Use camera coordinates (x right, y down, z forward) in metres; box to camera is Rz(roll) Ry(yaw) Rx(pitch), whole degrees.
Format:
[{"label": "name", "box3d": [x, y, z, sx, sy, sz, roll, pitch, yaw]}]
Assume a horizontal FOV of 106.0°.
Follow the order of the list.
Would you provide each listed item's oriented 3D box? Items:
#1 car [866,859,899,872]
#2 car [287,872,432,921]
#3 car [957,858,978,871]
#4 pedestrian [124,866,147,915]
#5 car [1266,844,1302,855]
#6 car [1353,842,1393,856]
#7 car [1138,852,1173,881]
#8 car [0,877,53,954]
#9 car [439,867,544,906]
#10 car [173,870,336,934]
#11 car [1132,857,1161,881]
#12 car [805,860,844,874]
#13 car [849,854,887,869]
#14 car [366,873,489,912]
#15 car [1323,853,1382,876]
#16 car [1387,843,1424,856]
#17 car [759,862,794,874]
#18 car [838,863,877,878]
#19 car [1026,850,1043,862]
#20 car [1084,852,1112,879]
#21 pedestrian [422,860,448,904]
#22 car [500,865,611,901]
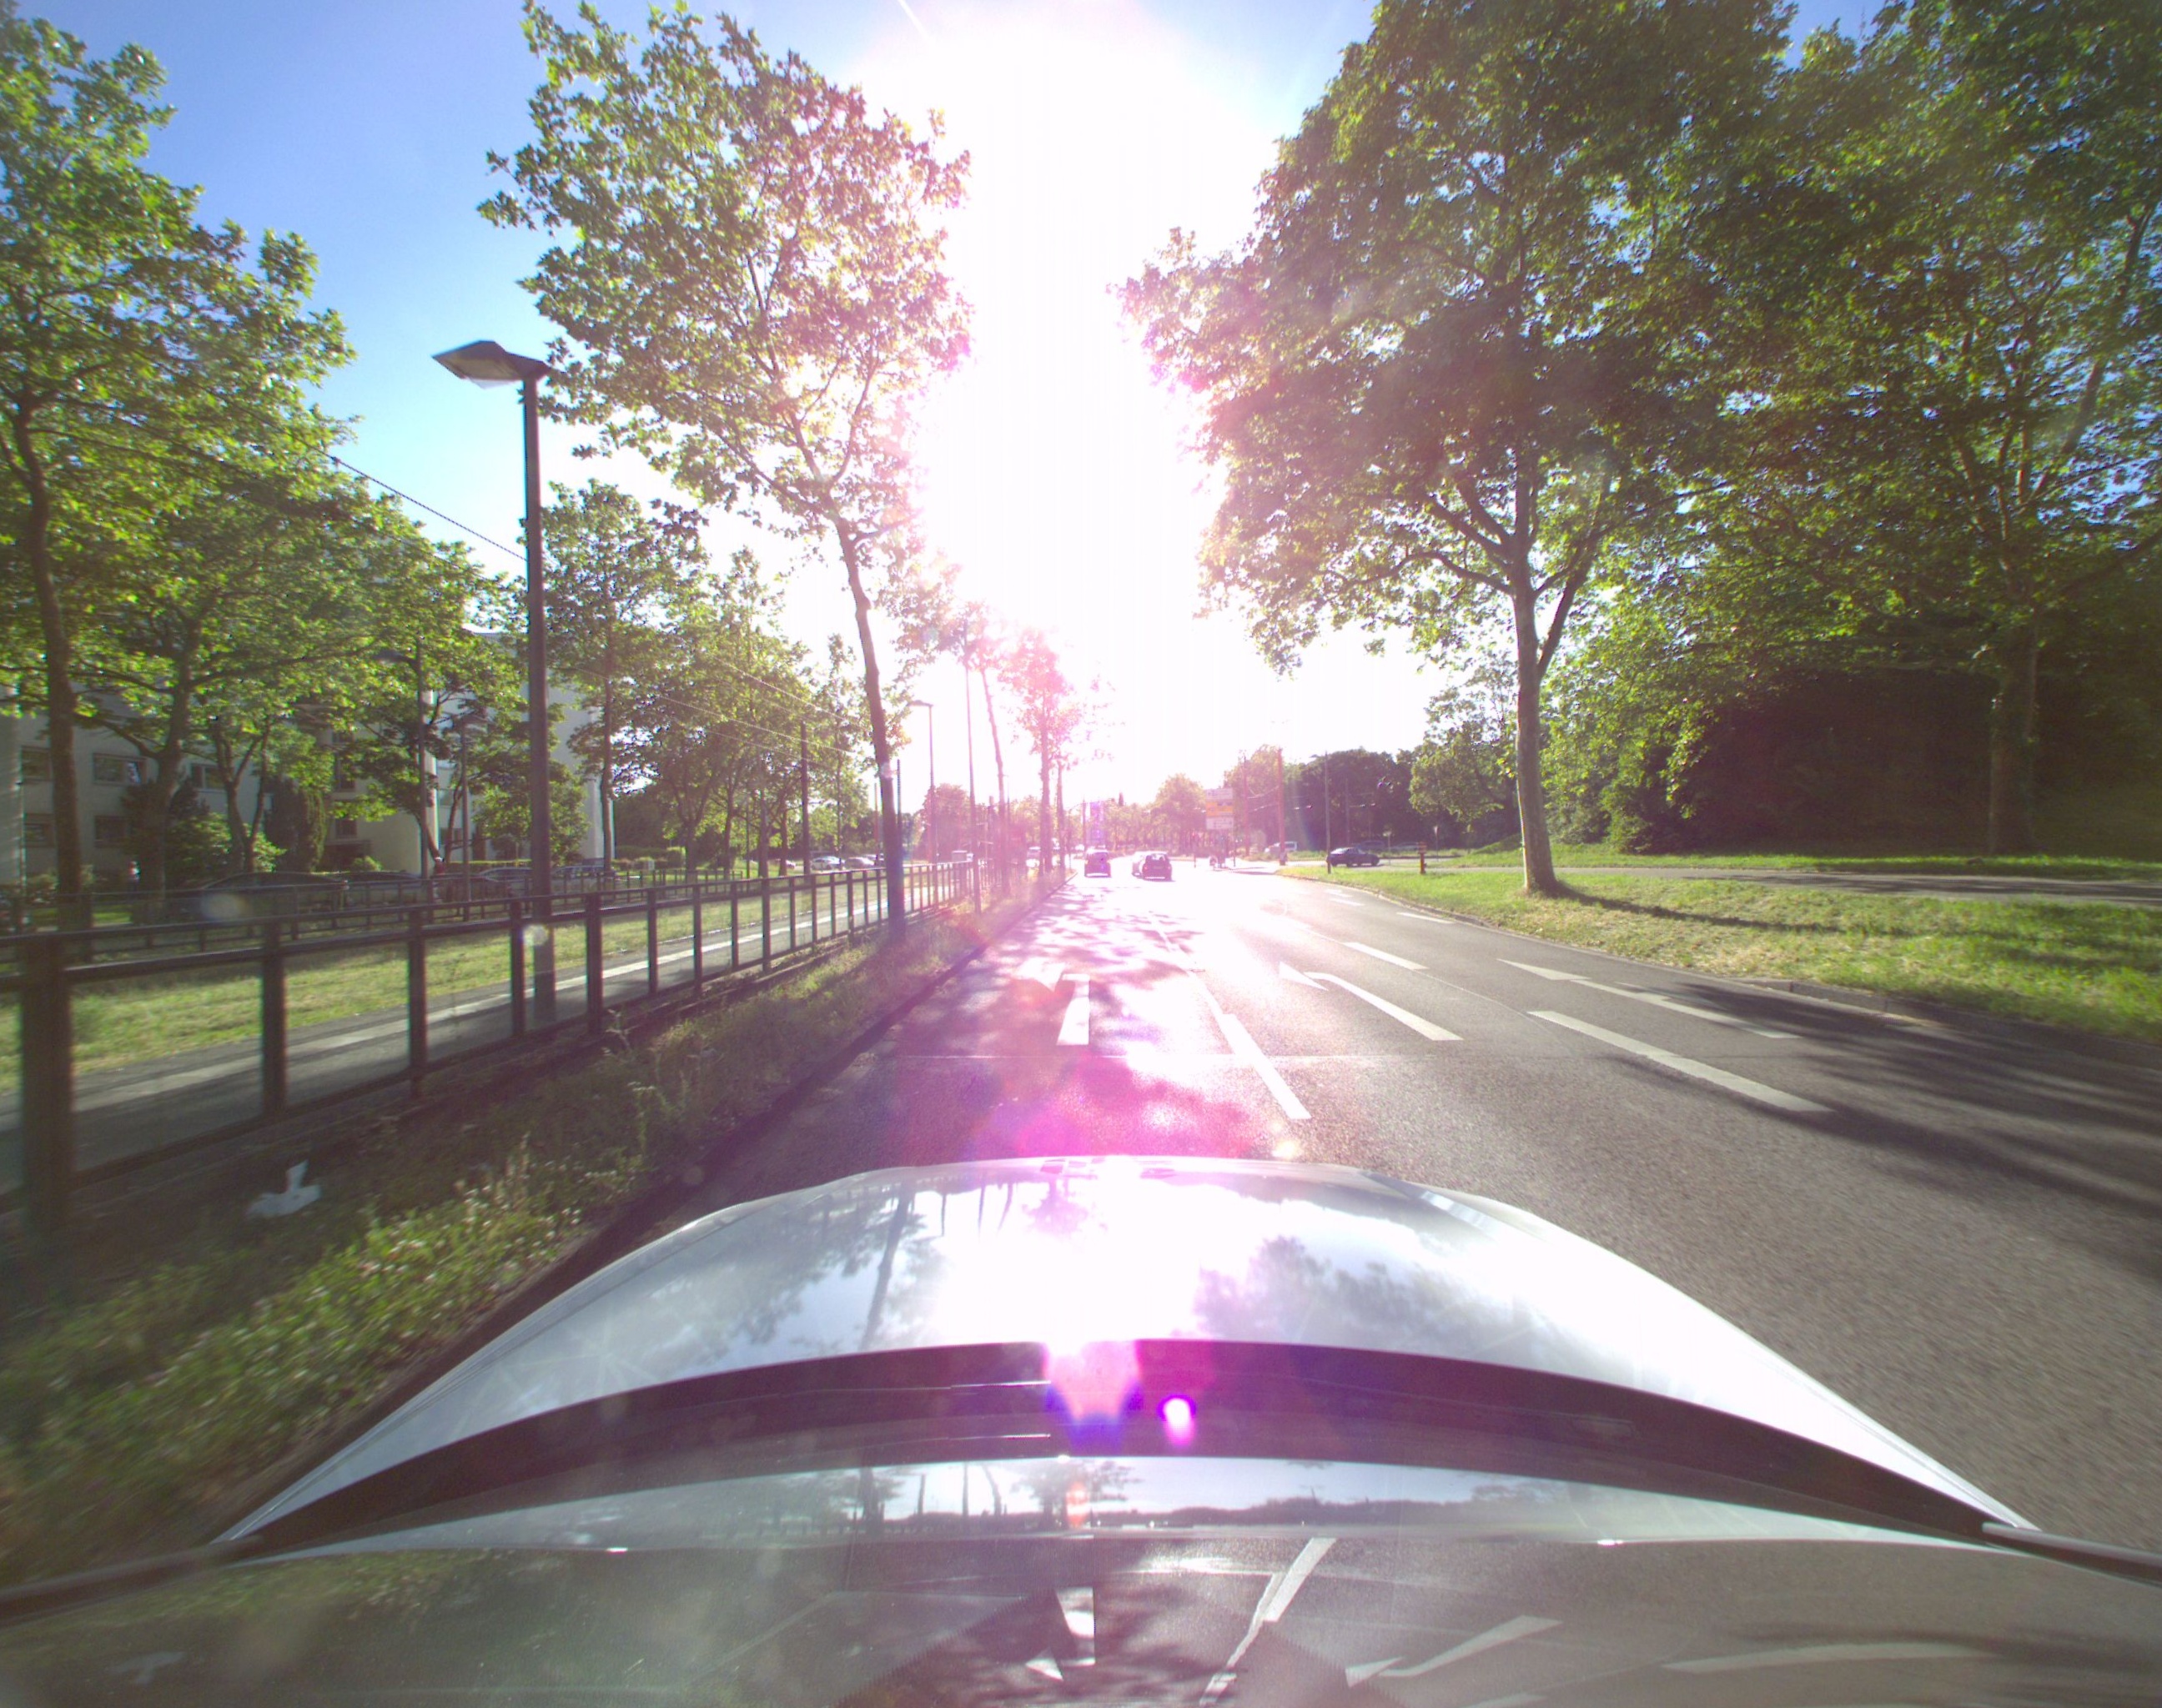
[{"label": "car", "box3d": [-27.558, 1.573, 113.212, 3.954, 1.621, 1.910, -2, 0, 20]}, {"label": "car", "box3d": [-23.312, 1.323, 26.384, 1.521, 1.426, 3.404, -1, 0, 44]}, {"label": "car", "box3d": [-13.399, 1.252, 96.439, 1.623, 1.449, 3.724, 0, 0, 6]}, {"label": "pedestrian", "box3d": [-35.255, 1.350, 30.354, 0.317, 1.792, 0.449, -1, 0, -5]}, {"label": "car", "box3d": [25.069, -0.561, 100.629, 3.950, 1.338, 1.739, 0, 0, 27]}, {"label": "car", "box3d": [34.324, -0.533, 95.755, 4.311, 1.559, 1.883, 0, 0, 26]}, {"label": "car", "box3d": [4.108, 0.649, 45.412, 1.633, 1.494, 3.503, 0, 1, 0]}, {"label": "car", "box3d": [-23.768, 1.300, 16.458, 3.396, 1.509, 1.450, -1, 1, -33]}, {"label": "car", "box3d": [-23.711, 1.271, 32.808, 3.304, 1.431, 1.552, 0, 0, -42]}, {"label": "car", "box3d": [-23.352, 1.305, 23.115, 1.447, 1.547, 3.157, 0, 1, 44]}, {"label": "car", "box3d": [4.134, 0.909, 51.831, 1.672, 1.475, 4.133, 0, 0, 2]}, {"label": "car", "box3d": [-33.277, 1.734, 105.574, 4.448, 1.611, 1.910, -2, 1, 20]}, {"label": "car", "box3d": [-27.871, 0.991, 106.482, 4.448, 1.610, 1.910, -2, 2, 20]}, {"label": "car", "box3d": [-23.679, 1.362, 29.614, 3.401, 1.253, 1.448, 0, 0, -39]}, {"label": "car", "box3d": [21.804, 0.810, 65.353, 4.628, 1.792, 1.969, 1, 0, -30]}, {"label": "car", "box3d": [38.620, -0.564, 97.015, 3.950, 1.495, 1.872, 0, 0, 27]}, {"label": "car", "box3d": [-40.403, 1.837, 108.164, 4.001, 1.436, 1.825, -2, 2, 20]}, {"label": "car", "box3d": [-28.252, 2.076, 102.958, 4.448, 1.610, 1.910, -2, 2, 20]}, {"label": "car", "box3d": [-7.400, 0.311, 130.126, 1.812, 1.780, 4.580, 0, 0, 10]}, {"label": "car", "box3d": [1.064, 0.708, 51.419, 1.705, 1.603, 3.349, -1, 0, 0]}, {"label": "pedestrian", "box3d": [-26.783, 1.143, 33.761, 0.474, 1.792, 0.717, 0, -1, 0]}, {"label": "car", "box3d": [-23.345, 1.252, 36.265, 3.942, 1.476, 1.612, 0, 0, -42]}]
